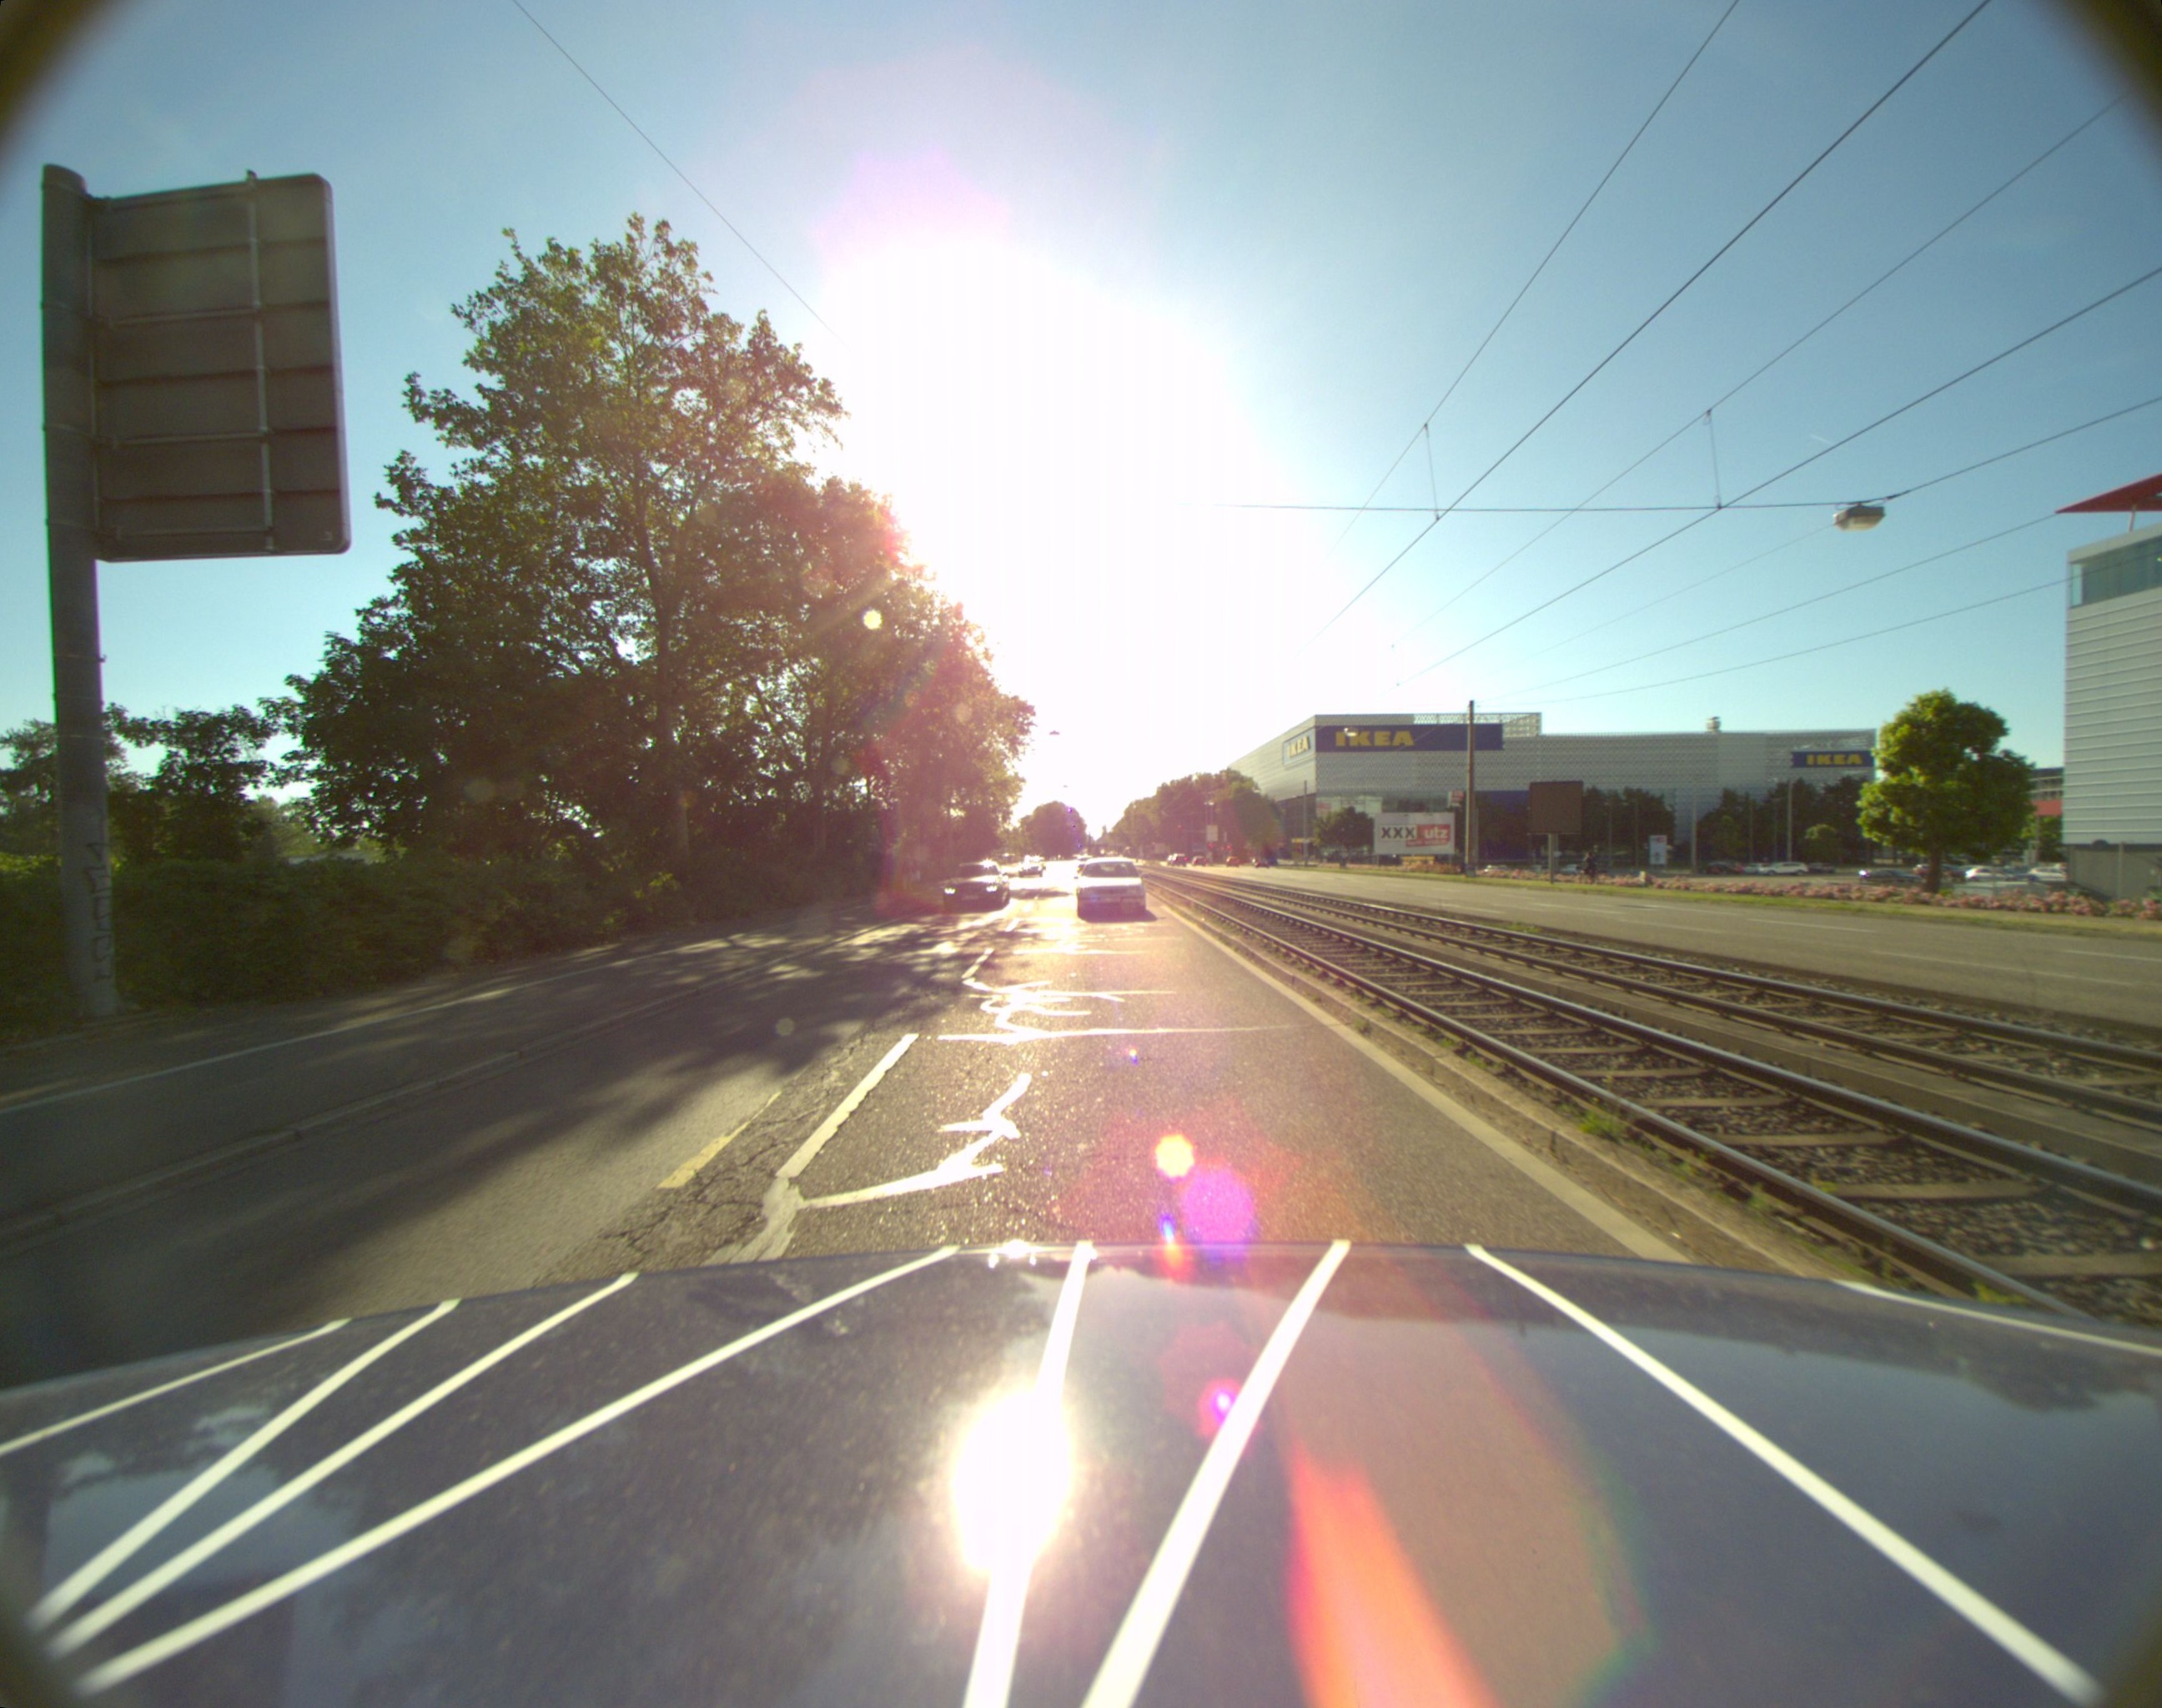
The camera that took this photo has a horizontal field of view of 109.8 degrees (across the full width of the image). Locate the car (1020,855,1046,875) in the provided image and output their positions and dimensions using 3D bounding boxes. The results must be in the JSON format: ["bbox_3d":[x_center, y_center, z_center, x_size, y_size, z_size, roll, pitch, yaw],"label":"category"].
[{"bbox_3d":[-3.689,0.840,59.389,1.857,1.415,3.979,-2,0,-2],"label":"car"}]

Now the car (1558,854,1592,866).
[{"bbox_3d":[69.160,0.852,106.360,1.935,1.583,3.999,-3,0,-3],"label":"car"}]

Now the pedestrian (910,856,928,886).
[{"bbox_3d":[-8.175,0.853,38.361,0.725,1.472,0.722,0,1,0],"label":"pedestrian"}]

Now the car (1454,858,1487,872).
[{"bbox_3d":[54.614,1.522,106.628,1.999,1.700,4.415,-3,0,-4],"label":"car"}]

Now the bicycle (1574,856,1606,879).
[{"bbox_3d":[27.936,0.716,41.733,0.662,1.144,2.023,-3,0,10],"label":"bicycle"}]

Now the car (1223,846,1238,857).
[{"bbox_3d":[21.109,-0.305,107.367,1.938,1.468,4.134,2,1,9],"label":"car"}]

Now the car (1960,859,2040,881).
[{"bbox_3d":[78.300,1.356,64.801,1.926,1.692,3.999,-3,0,0],"label":"car"}]

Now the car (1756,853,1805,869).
[{"bbox_3d":[88.459,0.835,96.161,4.220,1.789,1.829,-3,1,24],"label":"car"}]

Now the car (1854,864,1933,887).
[{"bbox_3d":[69.498,1.819,65.094,1.926,1.692,4.448,-3,0,0],"label":"car"}]

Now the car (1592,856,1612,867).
[{"bbox_3d":[81.712,1.176,119.274,1.904,1.559,4.254,-3,0,25],"label":"car"}]

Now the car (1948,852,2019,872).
[{"bbox_3d":[87.413,0.773,73.670,1.999,1.803,3.999,-3,0,0],"label":"car"}]

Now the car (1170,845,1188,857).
[{"bbox_3d":[13.199,-0.430,102.650,1.998,1.646,4.658,1,0,1],"label":"car"}]

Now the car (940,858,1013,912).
[{"bbox_3d":[-3.305,0.922,24.871,1.871,1.459,4.584,-2,1,-2],"label":"car"}]

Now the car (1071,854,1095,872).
[{"bbox_3d":[0.233,0.737,66.749,1.871,1.422,3.831,-3,0,2],"label":"car"}]

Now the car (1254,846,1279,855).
[{"bbox_3d":[33.488,-0.605,137.215,4.252,1.489,2.016,2,1,5],"label":"car"}]

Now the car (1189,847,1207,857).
[{"bbox_3d":[16.688,-0.308,108.921,1.861,1.452,4.137,-1,0,-1],"label":"car"}]

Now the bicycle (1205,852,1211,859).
[{"bbox_3d":[20.563,0.286,123.182,0.589,1.161,1.992,-1,0,1],"label":"bicycle"}]

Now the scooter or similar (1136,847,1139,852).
[{"bbox_3d":[14.654,-1.201,196.822,0.666,1.227,1.372,-1,1,0],"label":"scooter or similar"}]

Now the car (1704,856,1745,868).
[{"bbox_3d":[88.289,1.081,104.361,1.672,1.543,4.438,-3,0,-4],"label":"car"}]

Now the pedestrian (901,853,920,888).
[{"bbox_3d":[-8.192,0.780,36.477,0.724,1.698,0.813,0,1,0],"label":"pedestrian"}]

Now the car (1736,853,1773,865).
[{"bbox_3d":[93.519,0.660,105.533,1.727,1.646,4.000,-1,0,1],"label":"car"}]

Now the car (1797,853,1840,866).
[{"bbox_3d":[101.297,0.766,104.421,1.998,1.646,4.000,-1,0,1],"label":"car"}]

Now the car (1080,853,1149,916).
[{"bbox_3d":[0.820,0.729,20.017,1.602,1.440,3.799,-1,1,1],"label":"car"}]

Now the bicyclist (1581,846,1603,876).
[{"bbox_3d":[27.875,0.367,41.477,0.662,1.614,0.801,-3,1,10],"label":"bicyclist"}]

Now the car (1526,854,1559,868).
[{"bbox_3d":[64.456,0.975,106.132,1.935,1.734,3.999,-3,0,-3],"label":"car"}]

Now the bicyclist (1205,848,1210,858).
[{"bbox_3d":[20.539,-0.190,123.341,0.589,1.514,0.751,-1,1,1],"label":"bicyclist"}]

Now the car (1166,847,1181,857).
[{"bbox_3d":[13.330,-0.254,109.821,1.788,1.439,4.108,1,0,1],"label":"car"}]

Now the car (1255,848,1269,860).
[{"bbox_3d":[25.421,0.005,106.484,1.823,1.633,4.005,1,0,15],"label":"car"}]
